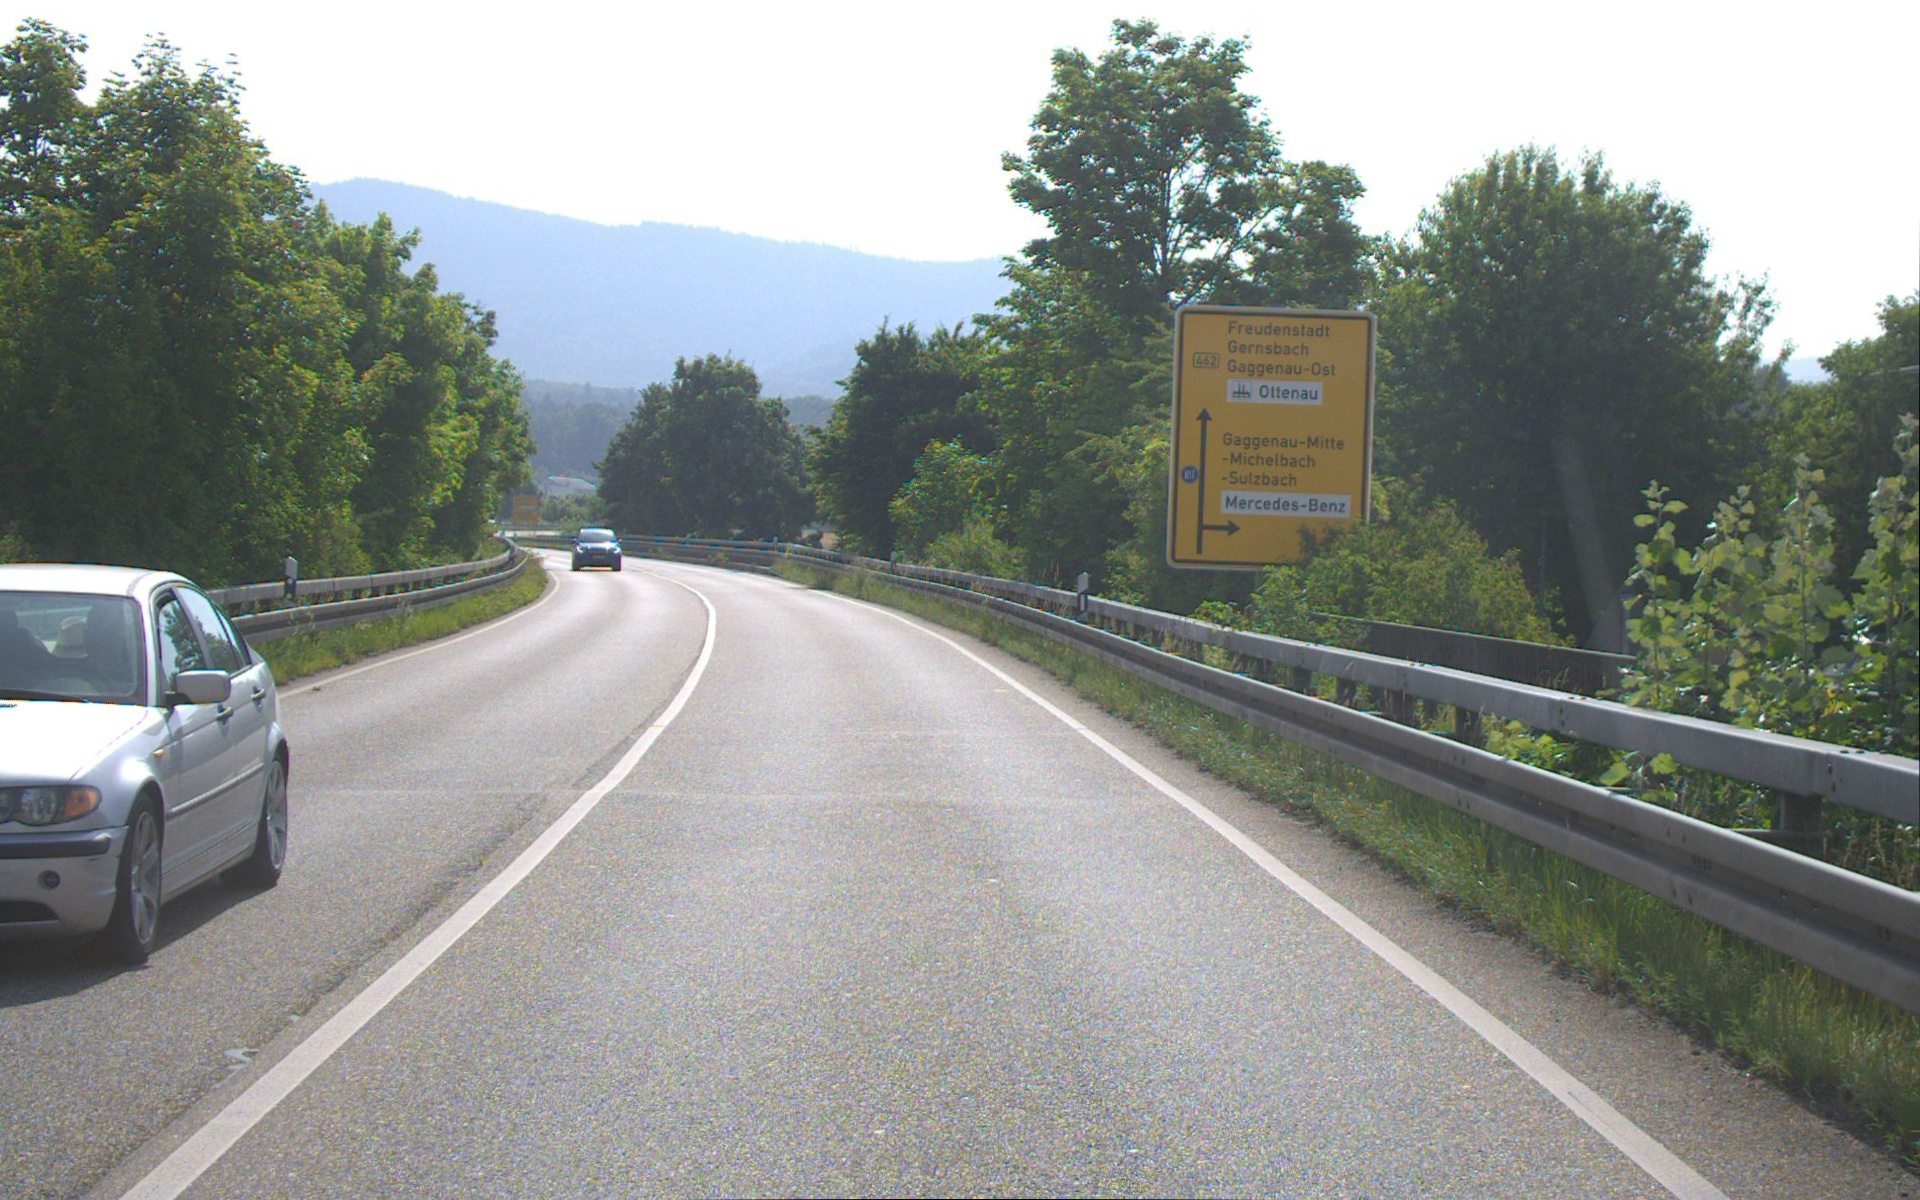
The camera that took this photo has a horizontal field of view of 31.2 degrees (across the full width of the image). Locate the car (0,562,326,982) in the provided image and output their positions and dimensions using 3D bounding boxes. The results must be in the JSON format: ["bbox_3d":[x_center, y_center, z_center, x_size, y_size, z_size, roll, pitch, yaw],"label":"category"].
[{"bbox_3d":[-3.728,0.561,13.541,1.758,1.406,3.990,0,1,-1],"label":"car"}]

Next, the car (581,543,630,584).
[{"bbox_3d":[-13.659,-1.417,132.442,1.807,1.555,3.993,0,1,-5],"label":"car"}]

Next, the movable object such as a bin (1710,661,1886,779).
[{"bbox_3d":[15.723,2.239,64.597,2.783,2.007,1.588,3,1,-3],"label":"movable object such as a bin"}]

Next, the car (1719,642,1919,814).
[{"bbox_3d":[15.904,2.201,56.889,6.072,2.679,2.313,2,-3,-3],"label":"car"}]
